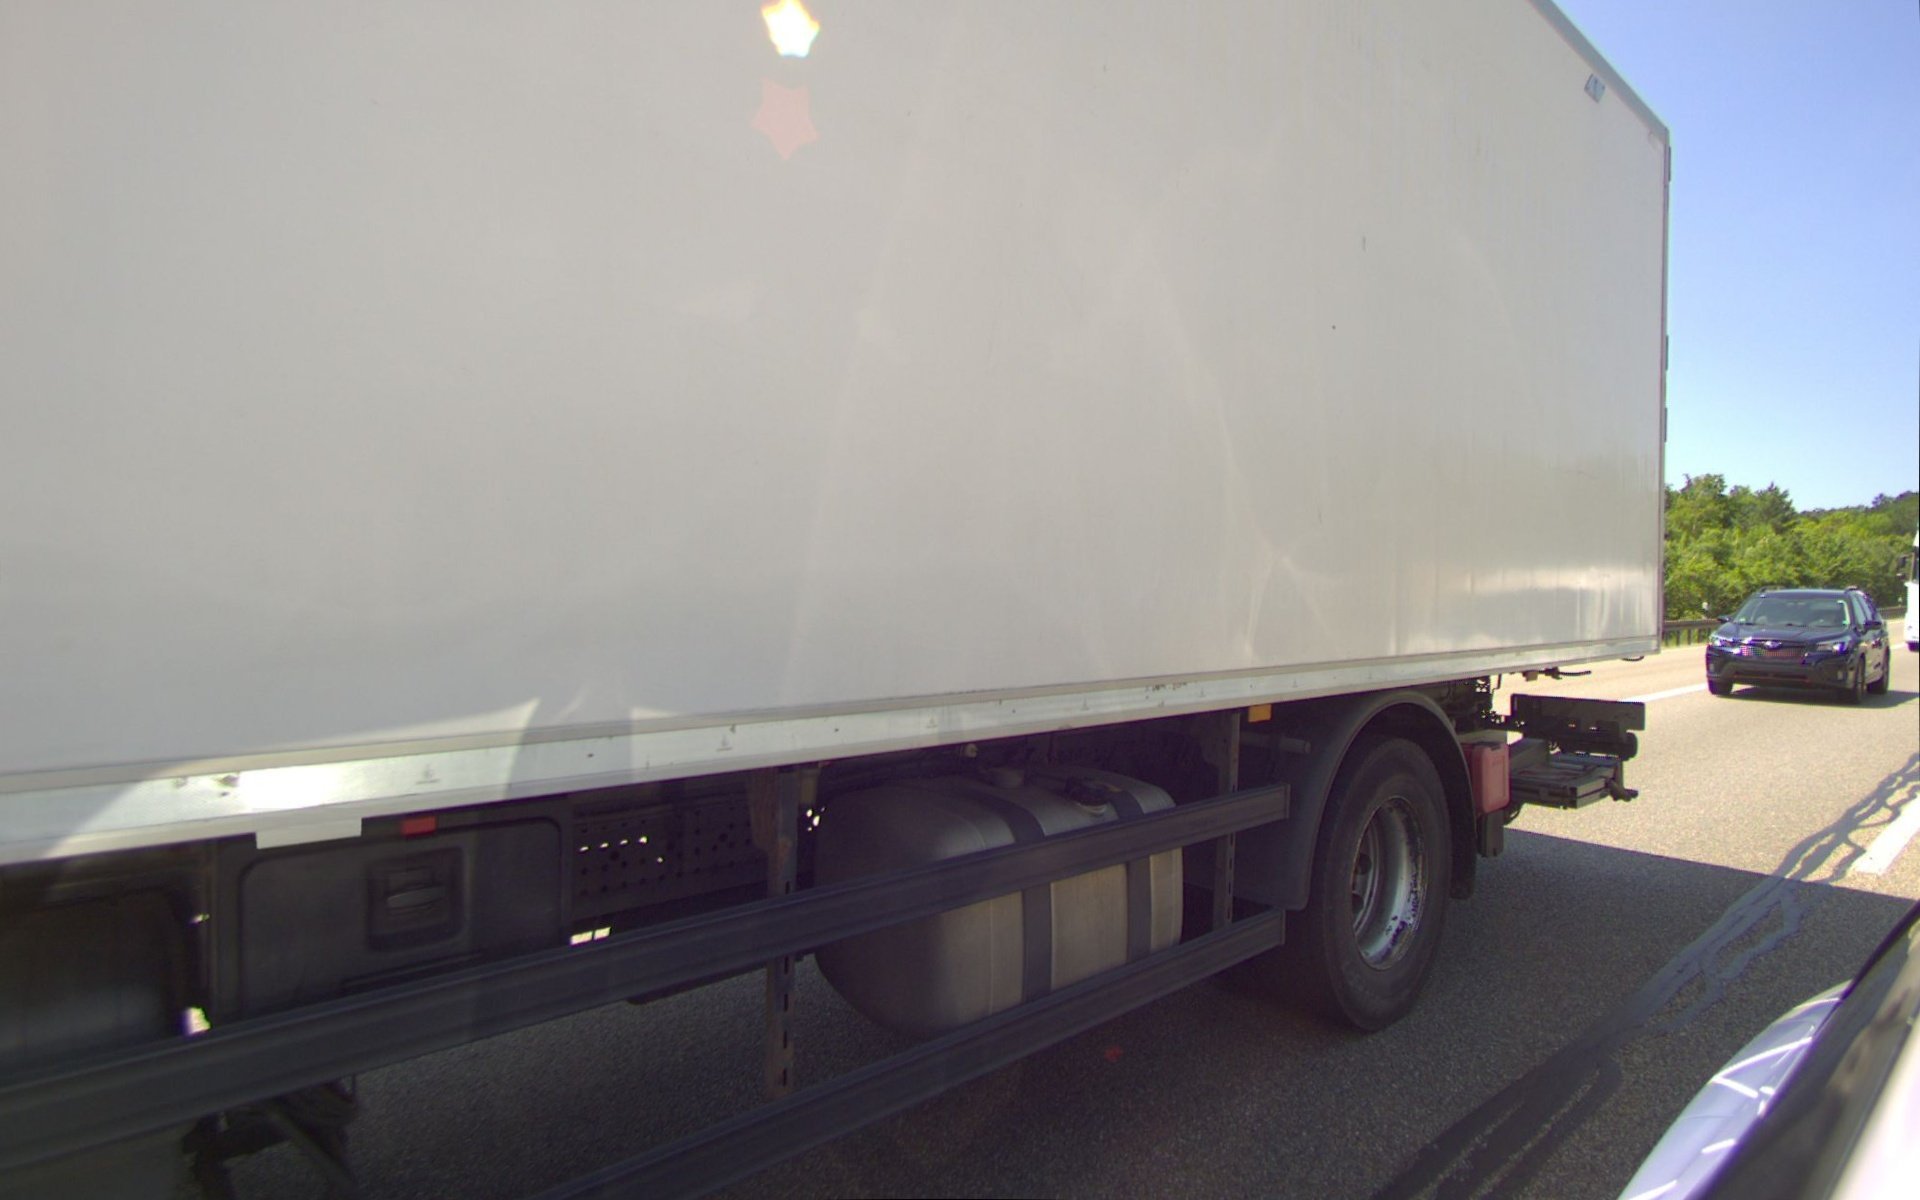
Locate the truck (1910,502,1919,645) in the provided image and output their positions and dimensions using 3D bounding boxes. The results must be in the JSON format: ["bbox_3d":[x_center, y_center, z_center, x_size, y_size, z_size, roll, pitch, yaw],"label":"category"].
[{"bbox_3d":[35.143,-0.796,34.123,15.981,4.221,2.788,0,1,-41],"label":"truck"}]

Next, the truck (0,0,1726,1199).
[{"bbox_3d":[-0.482,-0.576,3.228,9.609,3.924,2.693,0,2,-41],"label":"truck"}]

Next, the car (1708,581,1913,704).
[{"bbox_3d":[13.459,0.563,15.940,4.129,1.688,1.815,0,1,-40],"label":"car"}]
